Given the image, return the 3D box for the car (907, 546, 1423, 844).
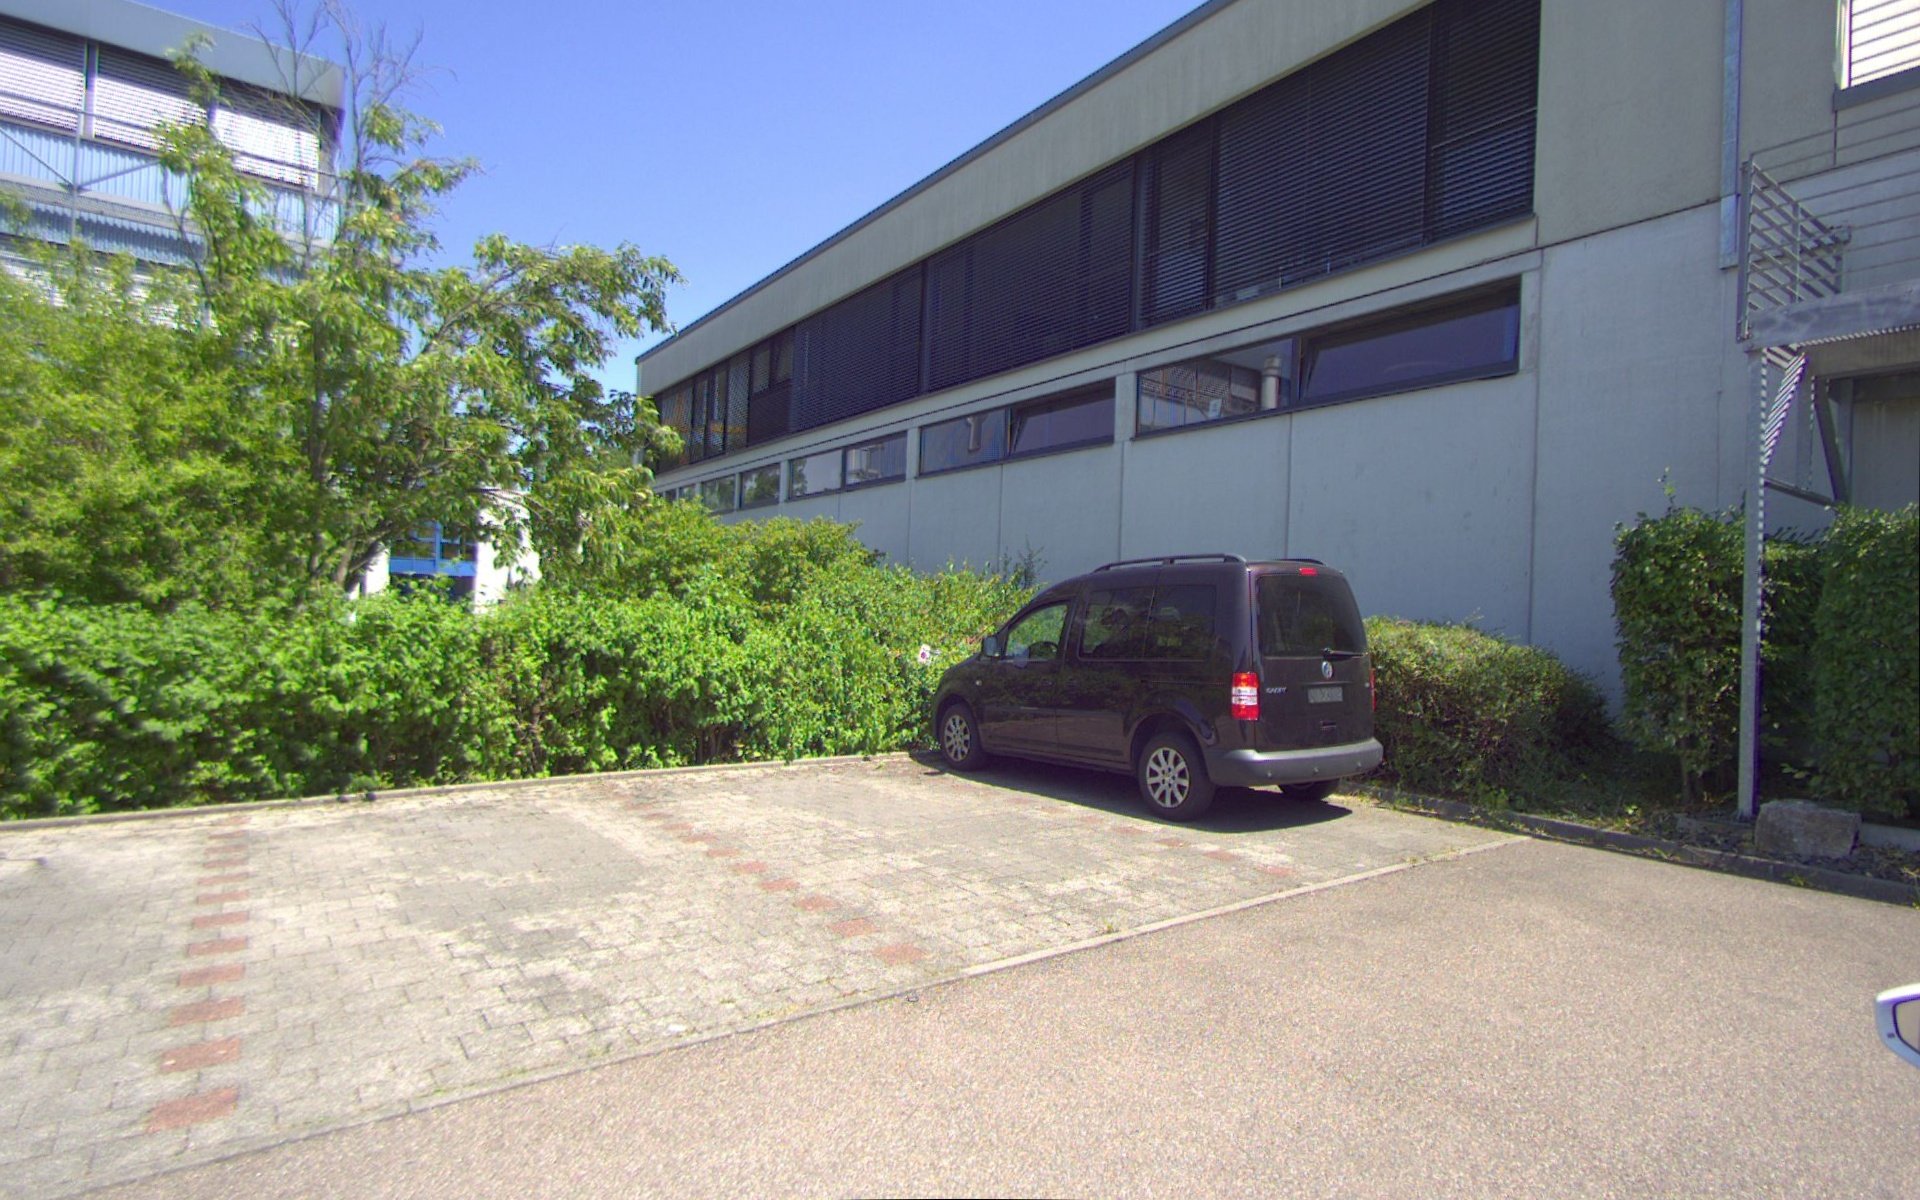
[{"bbox_3d":[1.464,0.617,8.595,1.851,1.885,4.186,1,-1,-36],"label":"car"}]
